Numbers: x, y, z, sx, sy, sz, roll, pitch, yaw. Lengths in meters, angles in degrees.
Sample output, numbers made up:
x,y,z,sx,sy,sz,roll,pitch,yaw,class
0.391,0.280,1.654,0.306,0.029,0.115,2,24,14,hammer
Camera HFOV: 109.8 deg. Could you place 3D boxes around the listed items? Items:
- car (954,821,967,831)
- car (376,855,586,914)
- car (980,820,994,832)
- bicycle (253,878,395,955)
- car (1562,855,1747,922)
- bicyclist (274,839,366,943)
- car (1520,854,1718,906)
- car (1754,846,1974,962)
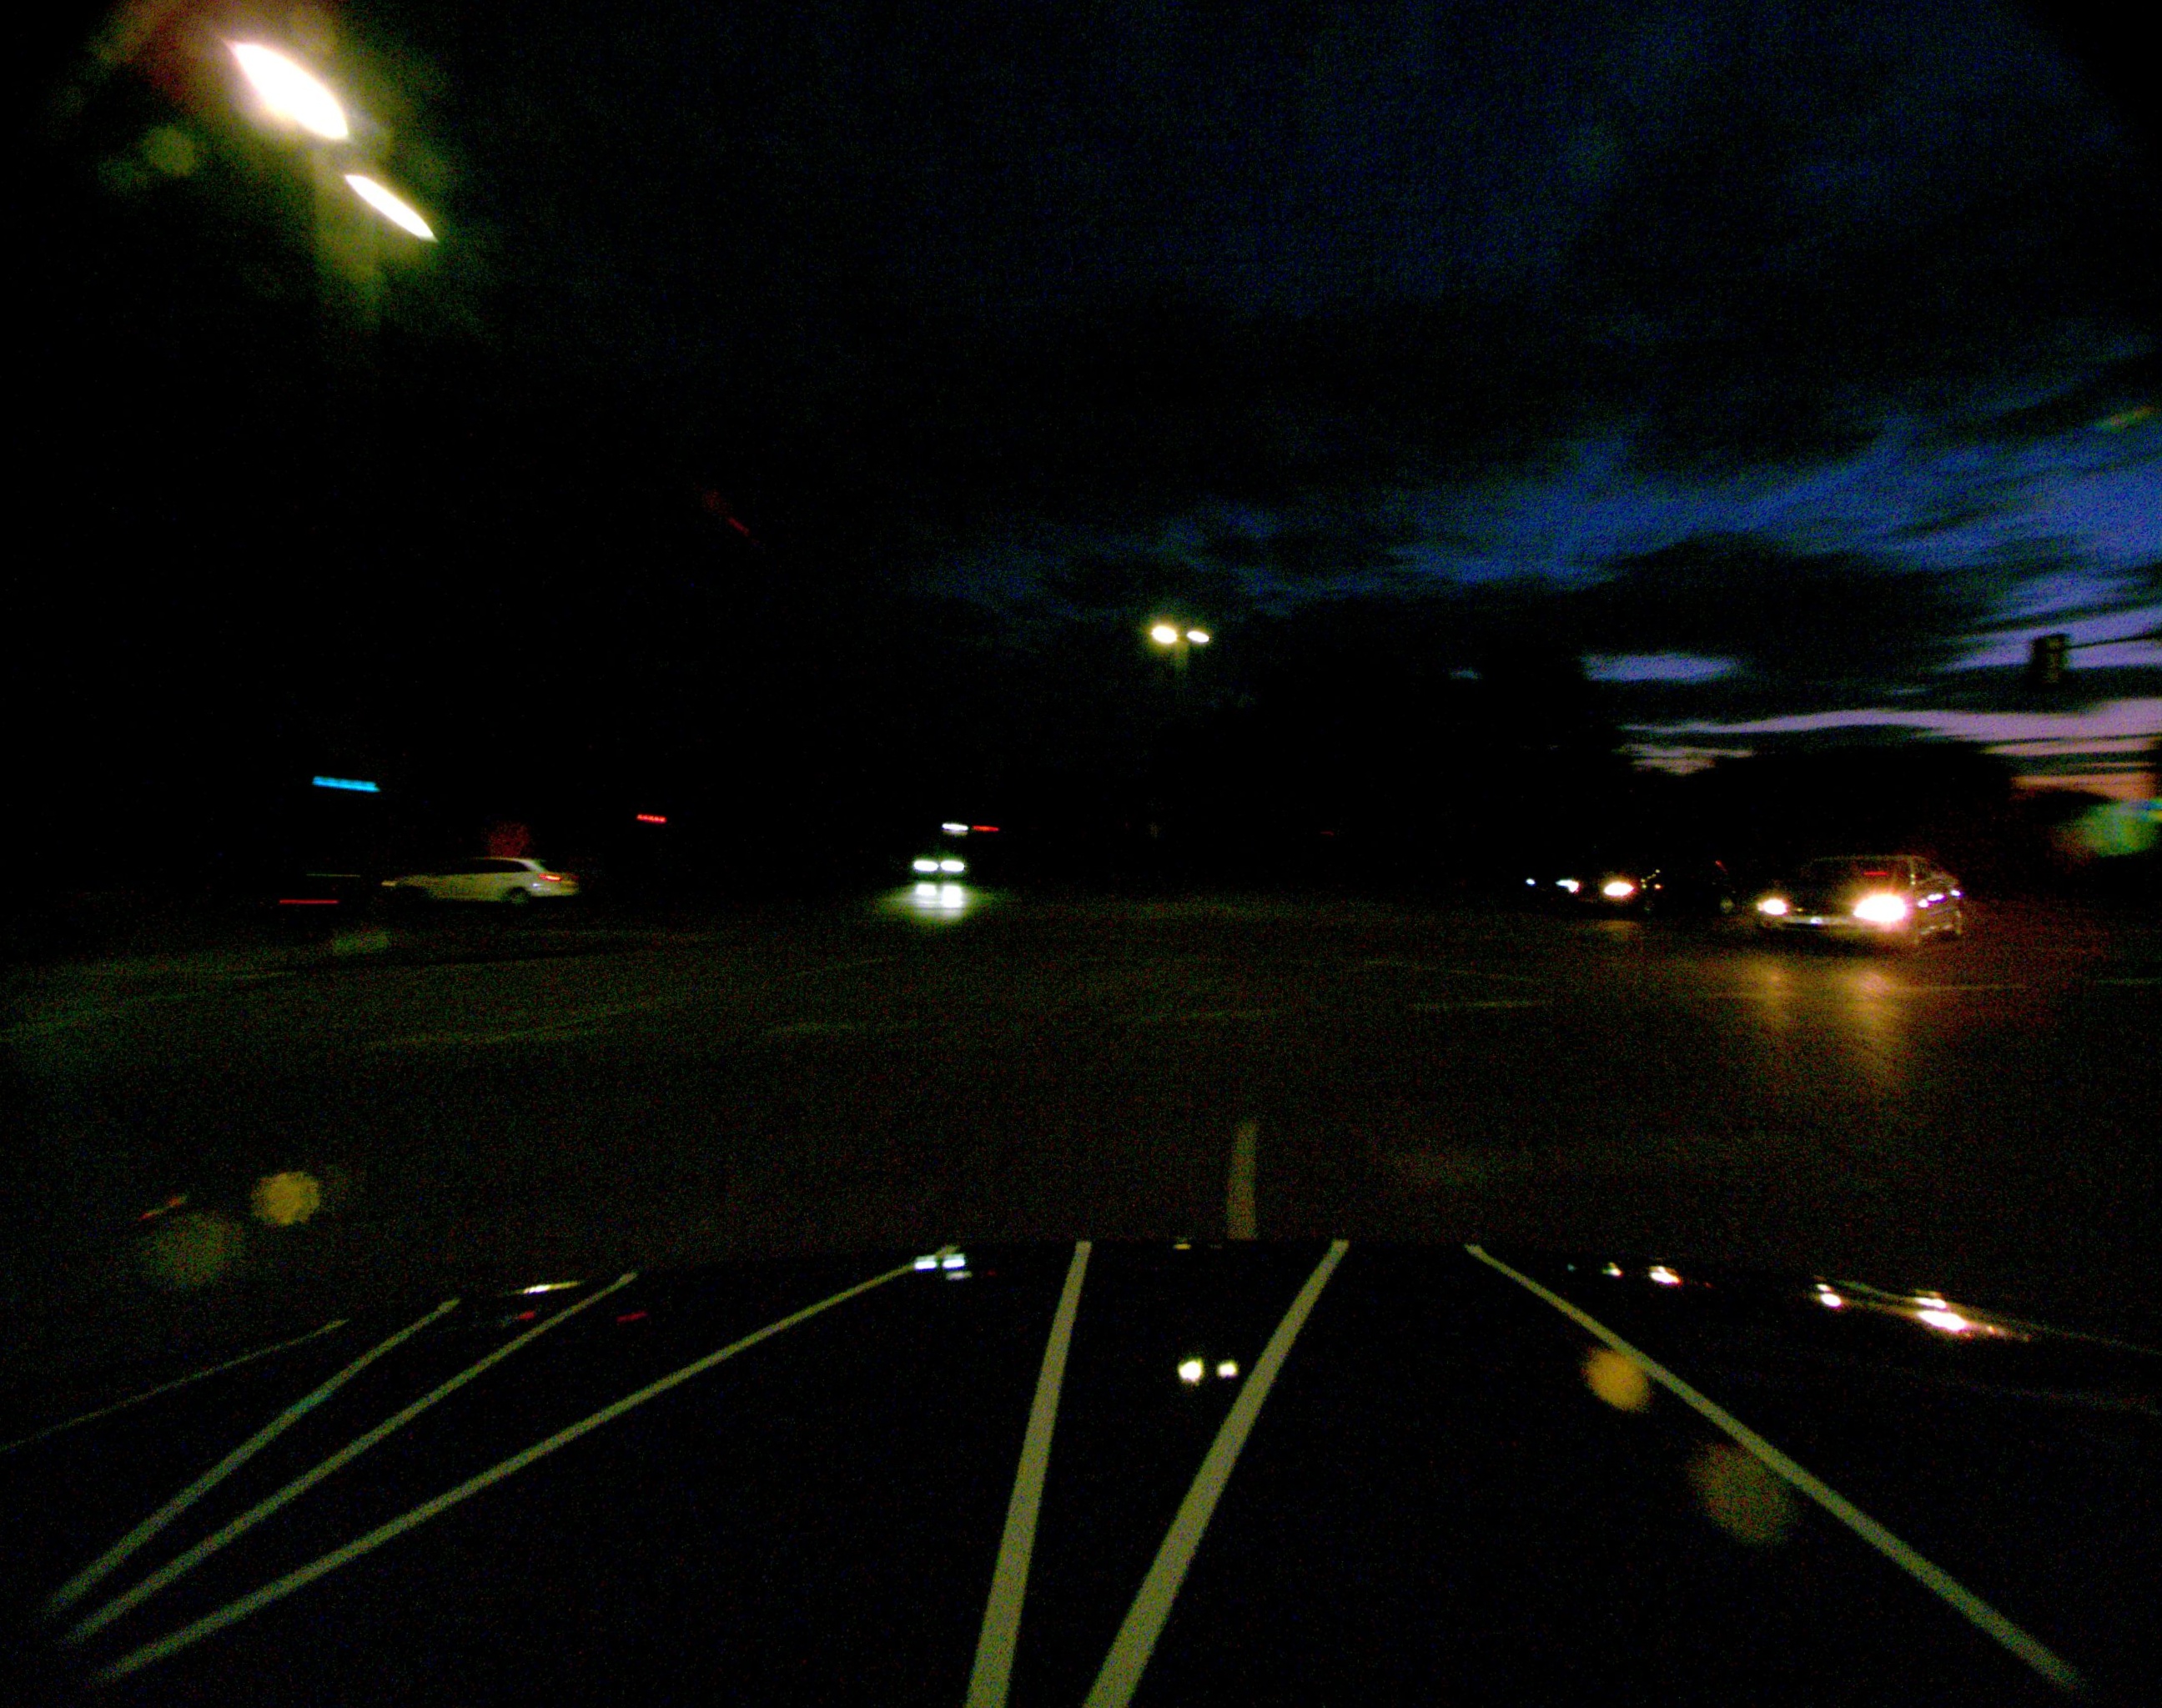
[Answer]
x,y,z,sx,sy,sz,roll,pitch,yaw,class
-22.700,-5.290,143.399,1.698,1.586,3.925,-1,0,0,car
-16.009,0.774,20.485,4.119,1.435,1.622,-1,2,-11,car
-15.034,-4.492,121.800,1.741,1.565,4.050,-1,6,-14,car
-12.522,0.988,12.675,0.695,1.095,2.065,-1,1,-14,bicycle
13.924,0.783,18.493,3.778,1.472,1.669,-1,1,-16,car
-12.523,0.579,12.540,0.604,1.642,0.999,-1,1,-14,bicyclist
15.812,0.743,22.504,4.530,1.435,1.796,-1,0,2,car
13.291,0.716,12.831,4.418,1.643,1.667,-1,0,-32,car
